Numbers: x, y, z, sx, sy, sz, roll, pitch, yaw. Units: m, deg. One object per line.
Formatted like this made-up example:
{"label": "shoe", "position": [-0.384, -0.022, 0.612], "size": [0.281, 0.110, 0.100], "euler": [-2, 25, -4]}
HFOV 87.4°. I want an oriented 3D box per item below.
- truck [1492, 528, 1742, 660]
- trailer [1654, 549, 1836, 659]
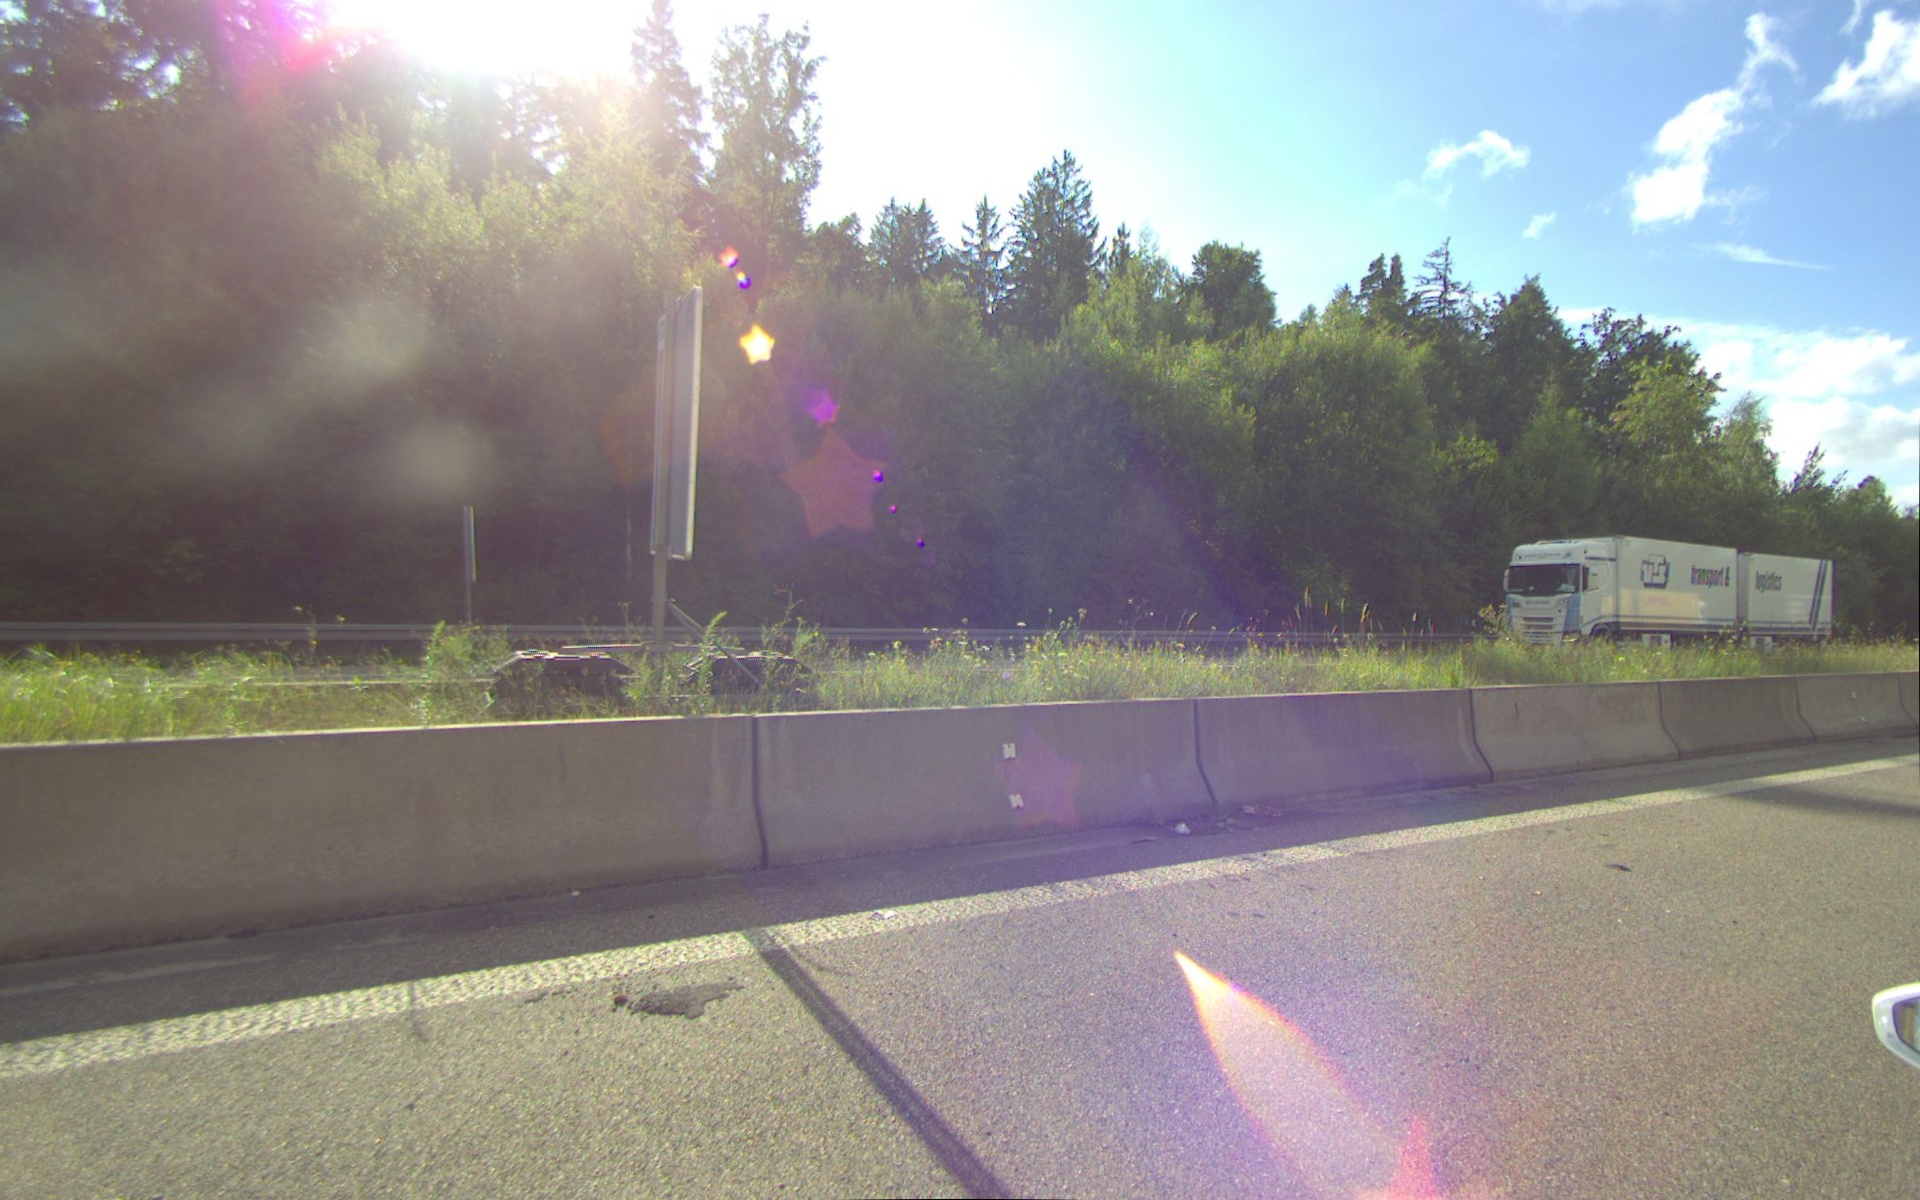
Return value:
{"label": "truck", "position": [22.891, -0.030, 34.693], "size": [10.737, 4.038, 2.768], "euler": [2, 0, -31]}
{"label": "trailer", "position": [31.102, 0.239, 39.672], "size": [8.391, 3.975, 2.776], "euler": [2, 0, -31]}
